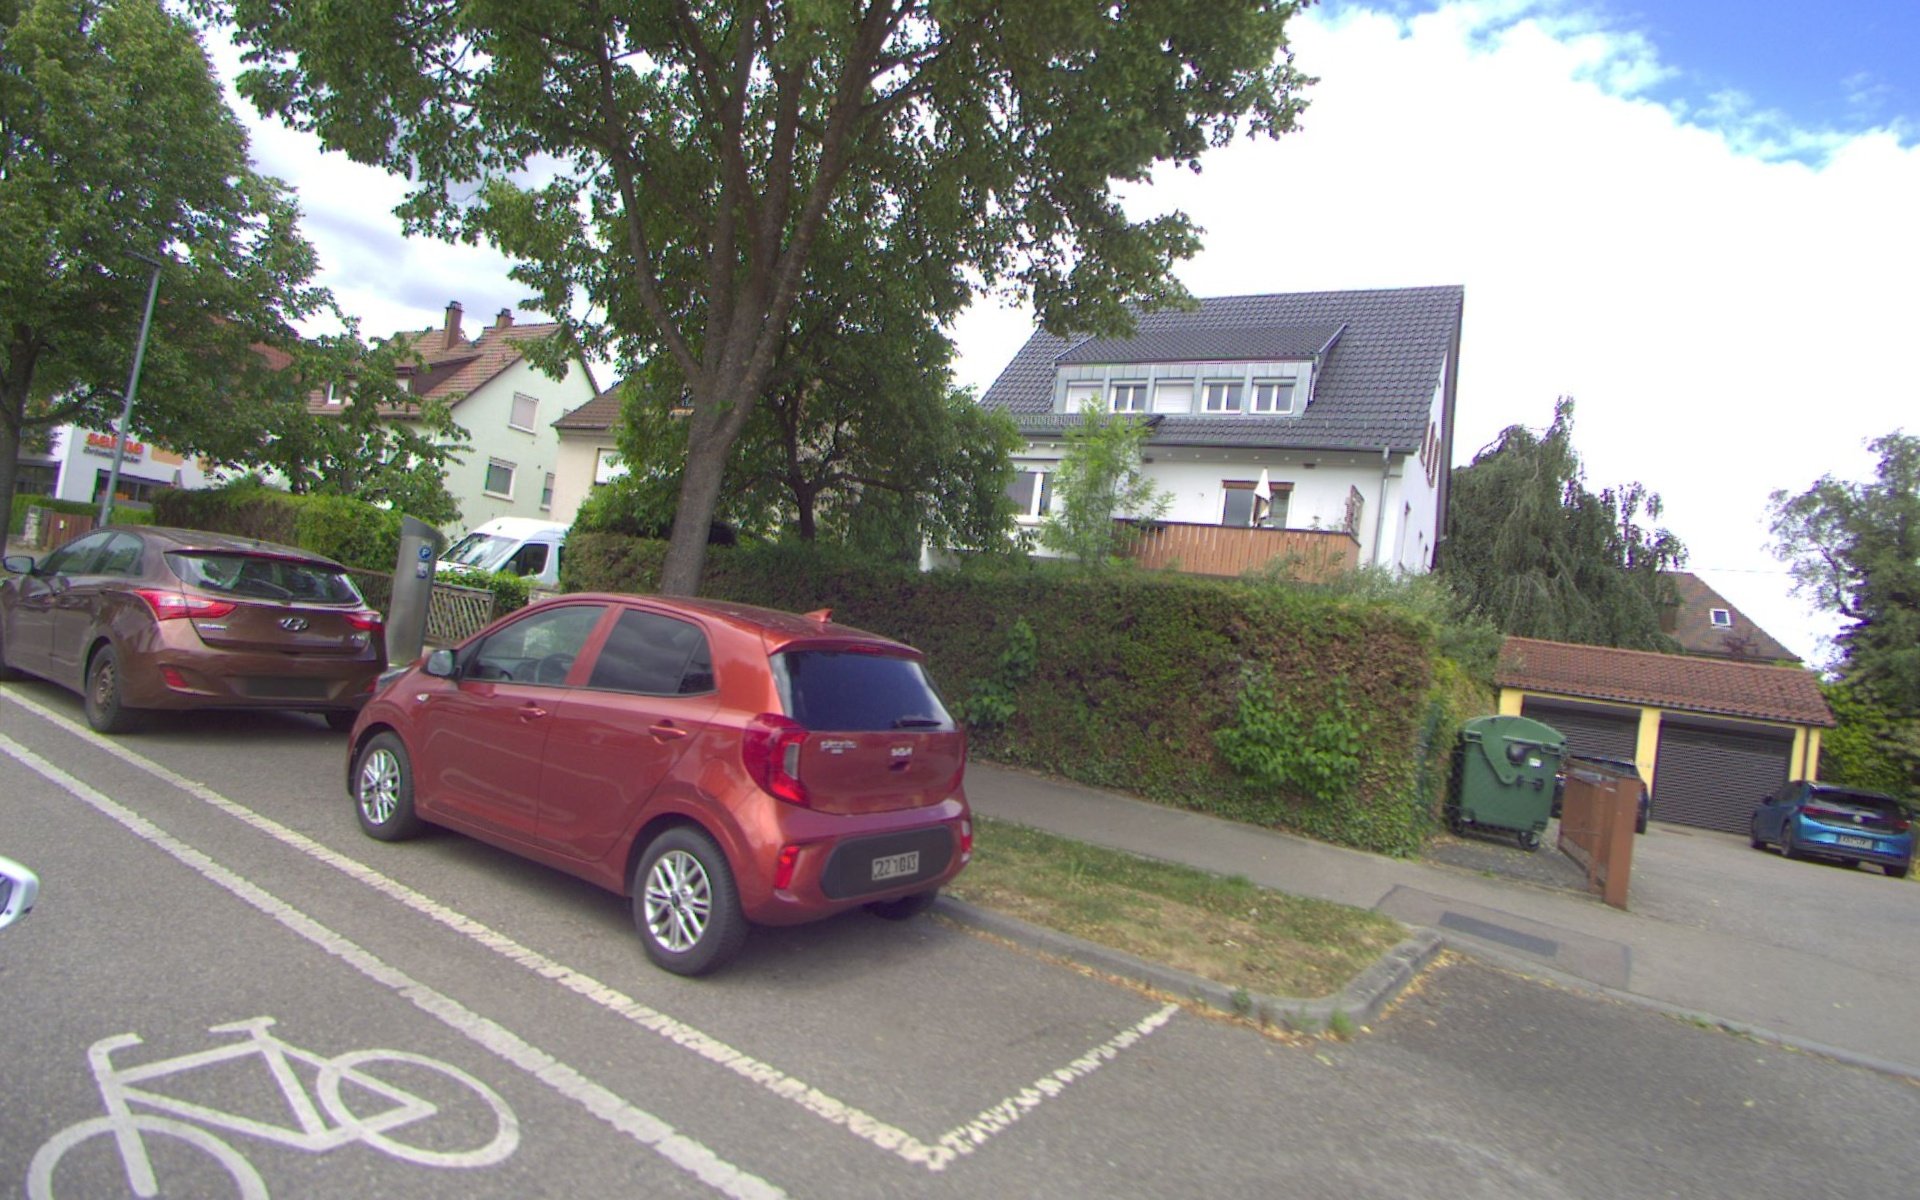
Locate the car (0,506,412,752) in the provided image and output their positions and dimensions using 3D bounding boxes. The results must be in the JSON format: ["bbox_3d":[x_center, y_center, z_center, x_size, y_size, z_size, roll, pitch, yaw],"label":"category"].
[{"bbox_3d":[-6.548,0.145,8.331,4.108,1.433,1.655,7,-1,33],"label":"car"}]

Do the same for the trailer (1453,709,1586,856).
[{"bbox_3d":[6.454,2.092,11.711,1.130,1.388,1.588,7,-4,27],"label":"trailer"}]

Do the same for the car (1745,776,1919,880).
[{"bbox_3d":[17.118,4.388,19.848,1.830,1.475,4.003,7,-5,30],"label":"car"}]

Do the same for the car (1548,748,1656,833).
[{"bbox_3d":[13.263,3.925,20.942,1.551,1.343,3.695,7,-5,30],"label":"car"}]

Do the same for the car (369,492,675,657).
[{"bbox_3d":[-9.073,-0.375,21.547,1.963,2.621,5.730,8,-2,29],"label":"car"}]

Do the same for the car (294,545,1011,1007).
[{"bbox_3d":[-1.754,0.680,5.356,3.609,1.471,1.568,7,-2,33],"label":"car"}]
